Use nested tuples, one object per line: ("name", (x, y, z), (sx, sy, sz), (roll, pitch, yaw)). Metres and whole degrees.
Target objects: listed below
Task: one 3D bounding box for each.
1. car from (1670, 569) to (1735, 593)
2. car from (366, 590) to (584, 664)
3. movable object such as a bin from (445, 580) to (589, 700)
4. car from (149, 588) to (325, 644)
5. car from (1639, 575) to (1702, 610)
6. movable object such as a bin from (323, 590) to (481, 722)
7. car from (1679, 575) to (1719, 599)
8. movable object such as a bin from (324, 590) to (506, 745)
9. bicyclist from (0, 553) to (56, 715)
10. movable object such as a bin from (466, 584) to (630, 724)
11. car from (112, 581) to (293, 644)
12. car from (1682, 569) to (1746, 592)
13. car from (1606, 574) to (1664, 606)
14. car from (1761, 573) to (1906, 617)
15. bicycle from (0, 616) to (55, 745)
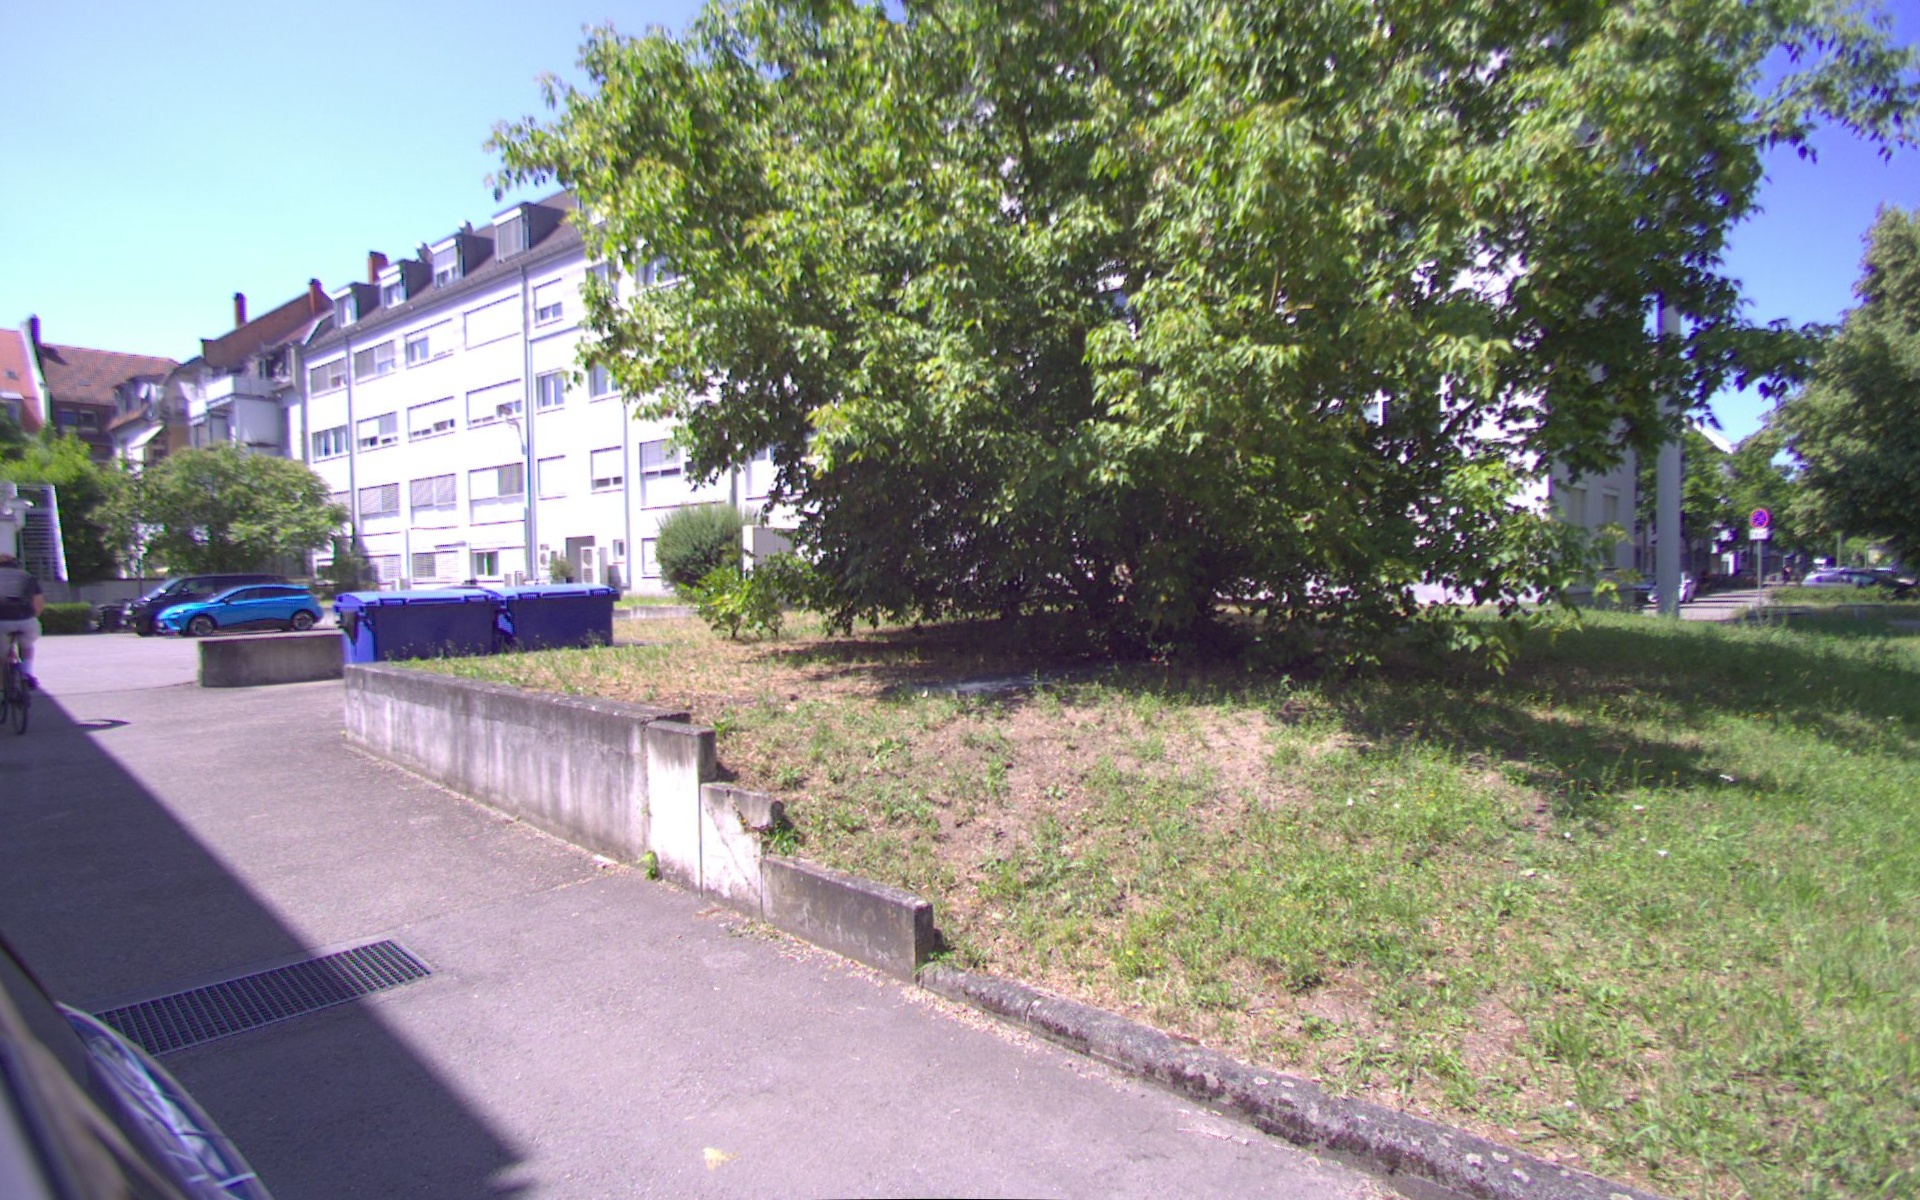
("car", (57.146, -1.461, 77.908), (3.994, 1.746, 1.769), (0, 1, 38))
("car", (-10.498, 0.519, 22.111), (1.710, 1.447, 3.946), (0, 0, 40))
("movable object such as a bin", (-5.358, 0.445, 12.254), (1.104, 1.337, 1.240), (0, 2, 44))
("car", (-22.562, 0.436, 31.704), (1.858, 1.565, 4.116), (0, 1, 39))
("car", (35.300, -0.406, 50.211), (1.977, 1.630, 4.111), (1, 2, 44))
("movable object such as a bin", (-6.217, 0.573, 11.287), (1.104, 1.337, 1.240), (0, 2, 44))
("car", (50.673, -0.909, 69.366), (1.974, 1.630, 4.116), (1, 2, 39))
("movable object such as a bin", (-5.236, 0.591, 9.735), (1.104, 1.337, 1.240), (0, 2, 44))
("bicyclist", (-9.933, 0.336, 10.492), (0.978, 1.621, 0.715), (1, 2, 43))
("movable object such as a bin", (-4.346, 0.523, 10.689), (1.104, 1.337, 1.240), (0, 2, 44))
("car", (-24.766, 0.338, 33.215), (1.999, 1.845, 4.391), (0, 2, 41))
("car", (59.143, -1.534, 79.409), (3.994, 1.746, 1.769), (0, 1, 38))
("car", (36.249, -0.571, 54.314), (1.977, 1.630, 4.112), (1, 2, 43))
("car", (33.822, -0.214, 39.308), (4.170, 1.630, 1.949), (1, 2, 42))
("bicycle", (-9.946, 0.793, 10.510), (1.905, 1.183, 0.637), (1, 2, 43))
